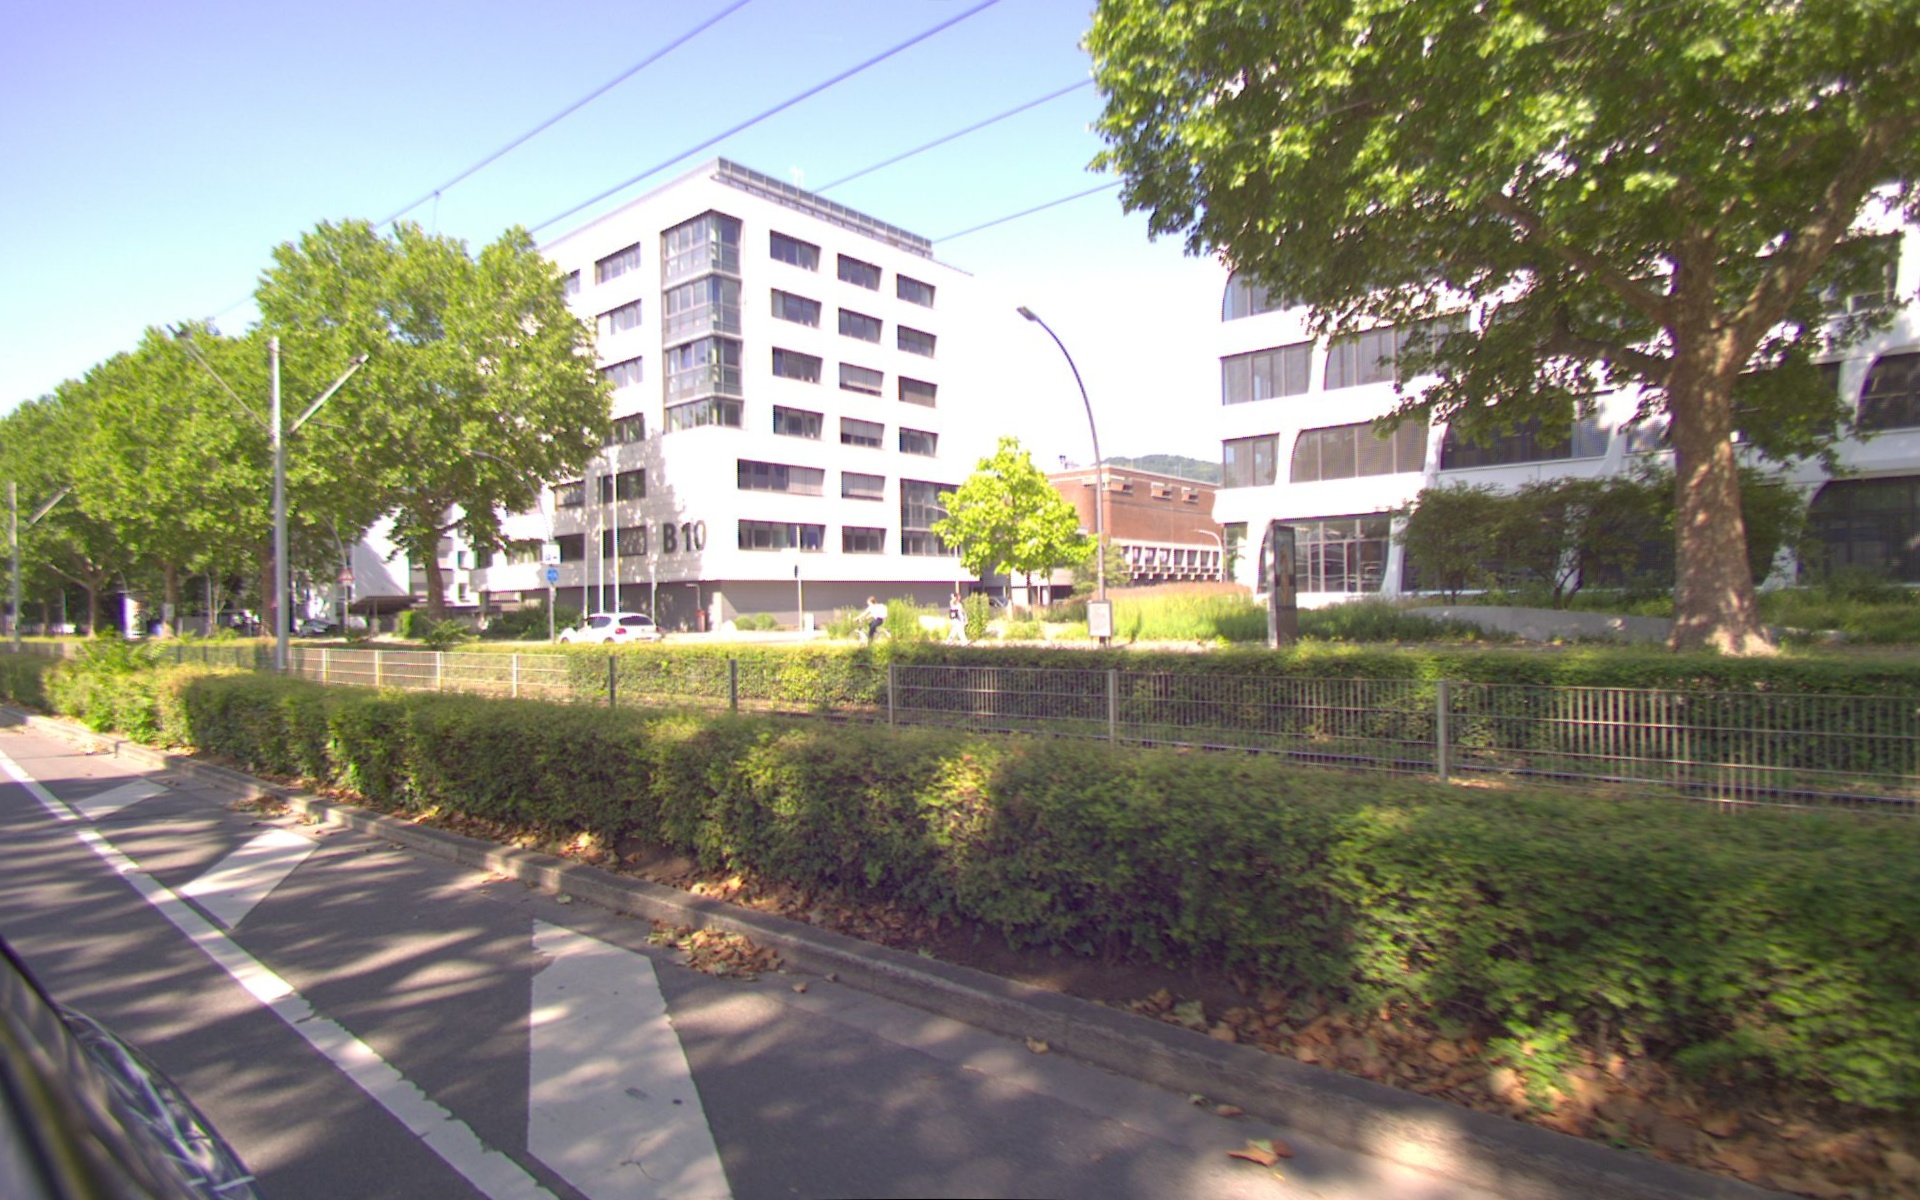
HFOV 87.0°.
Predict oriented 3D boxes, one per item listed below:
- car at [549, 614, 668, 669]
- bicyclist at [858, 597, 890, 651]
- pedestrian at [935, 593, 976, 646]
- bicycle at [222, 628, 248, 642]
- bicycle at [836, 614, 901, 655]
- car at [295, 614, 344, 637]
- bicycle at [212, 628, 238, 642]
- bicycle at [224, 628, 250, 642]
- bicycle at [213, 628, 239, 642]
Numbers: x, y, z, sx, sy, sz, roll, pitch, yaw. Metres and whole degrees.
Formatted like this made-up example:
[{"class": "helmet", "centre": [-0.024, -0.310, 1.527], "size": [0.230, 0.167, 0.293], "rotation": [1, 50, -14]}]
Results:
[{"class": "car", "centre": [-11.070, 1.285, 31.742], "size": [4.016, 1.581, 1.738], "rotation": [-2, 0, 41]}, {"class": "bicyclist", "centre": [-2.509, 0.699, 29.542], "size": [0.640, 1.546, 0.648], "rotation": [-2, 0, 41]}, {"class": "pedestrian", "centre": [-0.150, 0.590, 31.321], "size": [1.014, 1.600, 0.713], "rotation": [-2, 0, 41]}, {"class": "bicycle", "centre": [-62.193, 2.989, 86.841], "size": [0.421, 1.111, 1.749], "rotation": [-2, -1, 38]}, {"class": "bicycle", "centre": [-2.695, 1.006, 29.710], "size": [2.029, 1.132, 0.657], "rotation": [-2, 0, 41]}, {"class": "car", "centre": [-46.919, 1.898, 74.086], "size": [4.343, 1.561, 1.725], "rotation": [-2, -1, 39]}, {"class": "bicycle", "centre": [-64.076, 3.075, 88.234], "size": [0.421, 1.111, 1.749], "rotation": [-2, -1, 38]}, {"class": "bicycle", "centre": [-61.801, 2.976, 86.535], "size": [0.421, 1.111, 1.749], "rotation": [-2, -1, 38]}, {"class": "bicycle", "centre": [-63.740, 3.036, 87.917], "size": [0.421, 1.111, 1.749], "rotation": [-2, -1, 38]}]
